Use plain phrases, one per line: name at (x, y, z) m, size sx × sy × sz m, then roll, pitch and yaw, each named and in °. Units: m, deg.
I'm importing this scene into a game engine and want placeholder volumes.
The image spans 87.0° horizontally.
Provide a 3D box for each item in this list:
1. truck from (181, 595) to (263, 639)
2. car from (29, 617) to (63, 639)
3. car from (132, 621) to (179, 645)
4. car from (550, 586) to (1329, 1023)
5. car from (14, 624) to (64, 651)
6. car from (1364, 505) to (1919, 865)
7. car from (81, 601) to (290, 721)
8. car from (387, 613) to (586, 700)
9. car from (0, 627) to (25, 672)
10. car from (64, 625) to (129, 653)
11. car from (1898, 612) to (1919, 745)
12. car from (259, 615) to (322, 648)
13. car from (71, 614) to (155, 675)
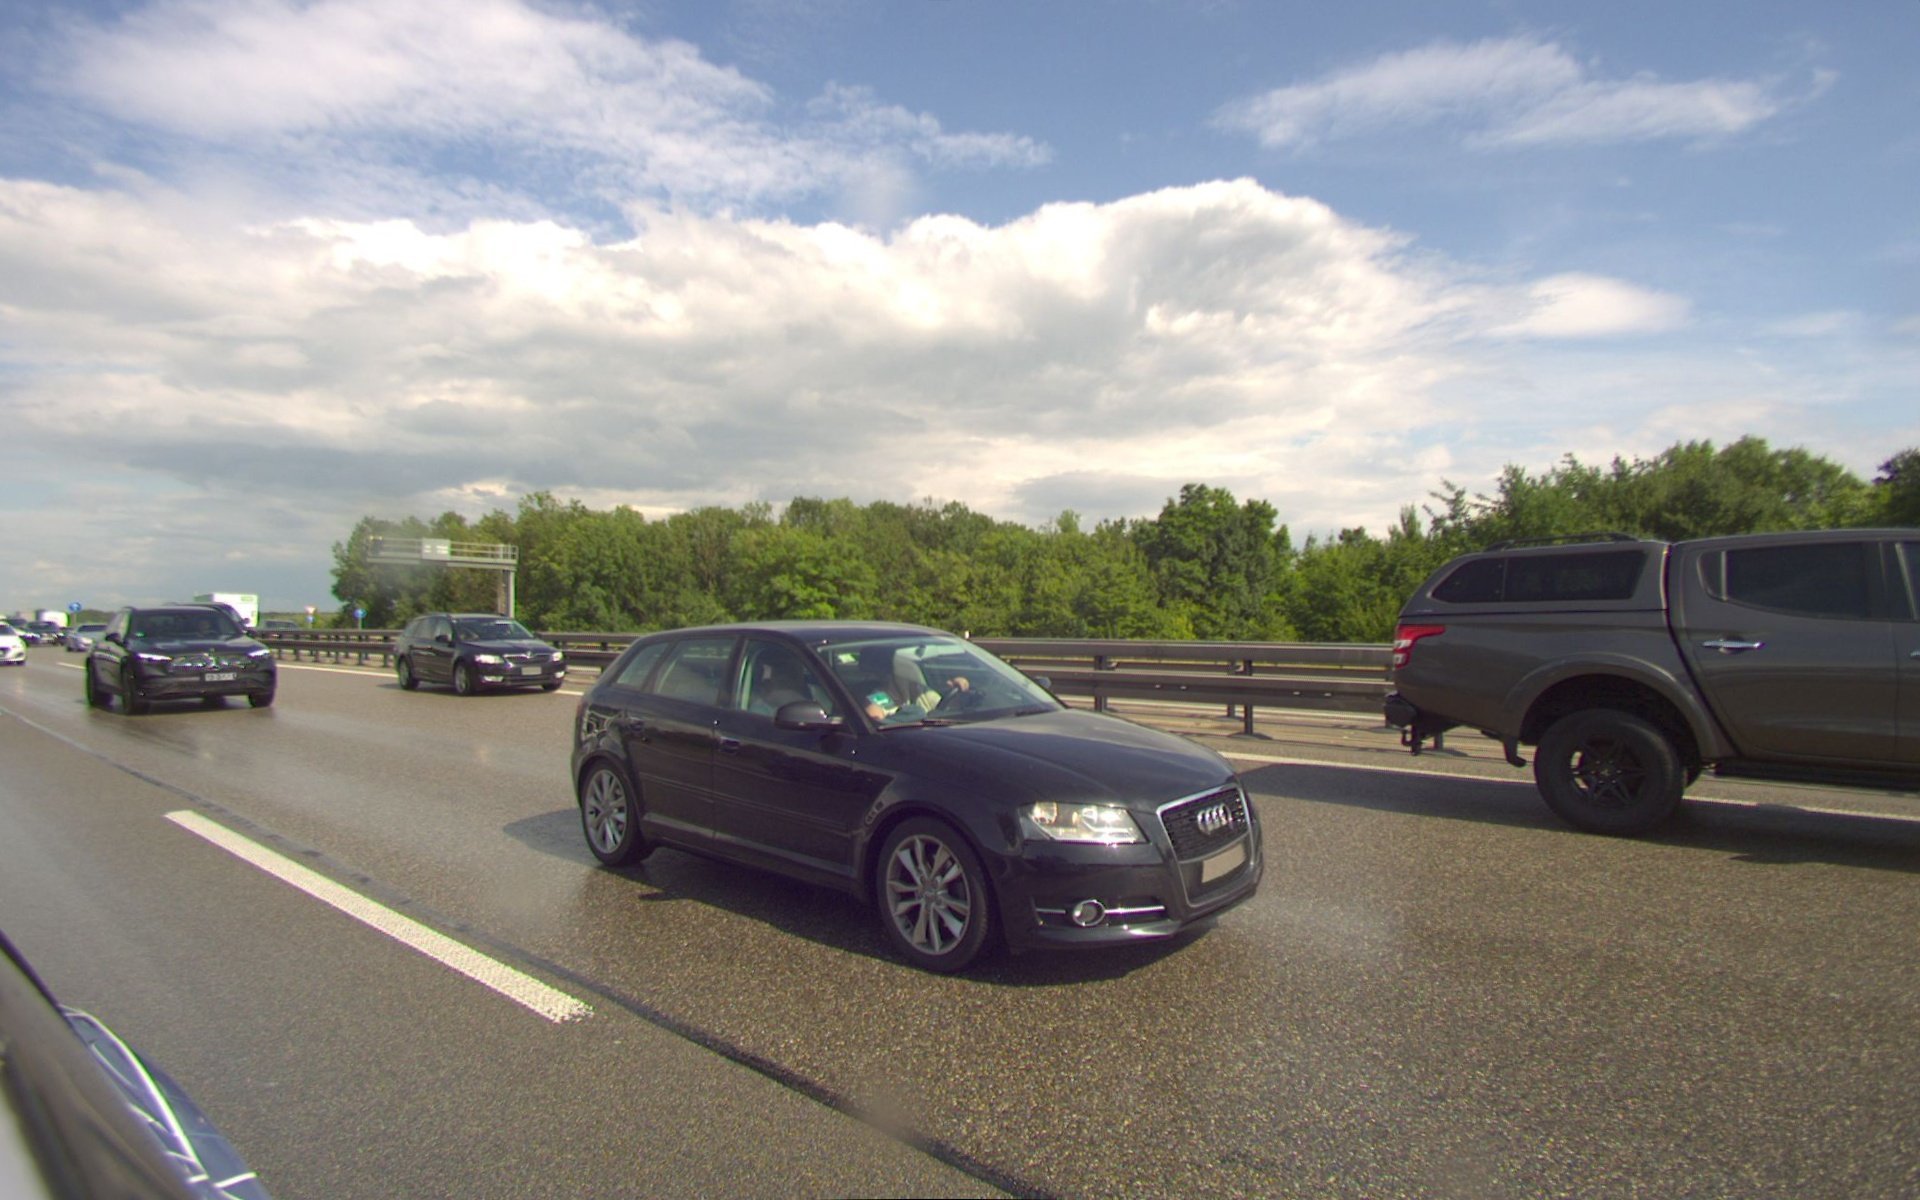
truck at (-53.804, 1.244, 73.679) m, size 8.717 × 3.009 × 2.886 m, roll -1°, pitch 0°, yaw 41°
car at (-101.362, 3.088, 112.202) m, size 6.099 × 2.414 × 2.092 m, roll -1°, pitch -1°, yaw 41°
car at (-57.429, 2.335, 72.223) m, size 4.242 × 1.655 × 1.748 m, roll -1°, pitch -1°, yaw 39°
car at (-0.387, 0.711, 5.371) m, size 4.053 × 1.444 × 1.731 m, roll -1°, pitch -1°, yaw 42°
car at (-51.149, 2.054, 56.194) m, size 3.998 × 1.431 × 1.597 m, roll -1°, pitch -1°, yaw 41°
car at (5.456, 0.438, 5.969) m, size 5.416 × 1.858 × 1.787 m, roll -1°, pitch -1°, yaw 42°
car at (-12.738, 0.895, 16.532) m, size 4.624 × 1.692 × 1.857 m, roll -1°, pitch -1°, yaw 41°
car at (-9.015, 0.980, 19.103) m, size 4.372 × 1.435 × 1.899 m, roll -1°, pitch -1°, yaw 43°
car at (-32.054, 1.586, 33.084) m, size 4.239 × 1.408 × 1.785 m, roll -1°, pitch -1°, yaw 42°
car at (-39.356, 1.763, 46.094) m, size 3.583 × 1.198 × 1.832 m, roll -1°, pitch -1°, yaw 43°
car at (12.222, 0.786, 9.818) m, size 4.492 × 1.364 × 1.848 m, roll -1°, pitch -1°, yaw 42°
car at (-33.347, 1.542, 50.372) m, size 3.314 × 1.586 × 1.800 m, roll -1°, pitch -1°, yaw 41°
car at (-23.869, 1.211, 28.505) m, size 2.829 × 1.609 × 1.391 m, roll -1°, pitch -1°, yaw 41°
